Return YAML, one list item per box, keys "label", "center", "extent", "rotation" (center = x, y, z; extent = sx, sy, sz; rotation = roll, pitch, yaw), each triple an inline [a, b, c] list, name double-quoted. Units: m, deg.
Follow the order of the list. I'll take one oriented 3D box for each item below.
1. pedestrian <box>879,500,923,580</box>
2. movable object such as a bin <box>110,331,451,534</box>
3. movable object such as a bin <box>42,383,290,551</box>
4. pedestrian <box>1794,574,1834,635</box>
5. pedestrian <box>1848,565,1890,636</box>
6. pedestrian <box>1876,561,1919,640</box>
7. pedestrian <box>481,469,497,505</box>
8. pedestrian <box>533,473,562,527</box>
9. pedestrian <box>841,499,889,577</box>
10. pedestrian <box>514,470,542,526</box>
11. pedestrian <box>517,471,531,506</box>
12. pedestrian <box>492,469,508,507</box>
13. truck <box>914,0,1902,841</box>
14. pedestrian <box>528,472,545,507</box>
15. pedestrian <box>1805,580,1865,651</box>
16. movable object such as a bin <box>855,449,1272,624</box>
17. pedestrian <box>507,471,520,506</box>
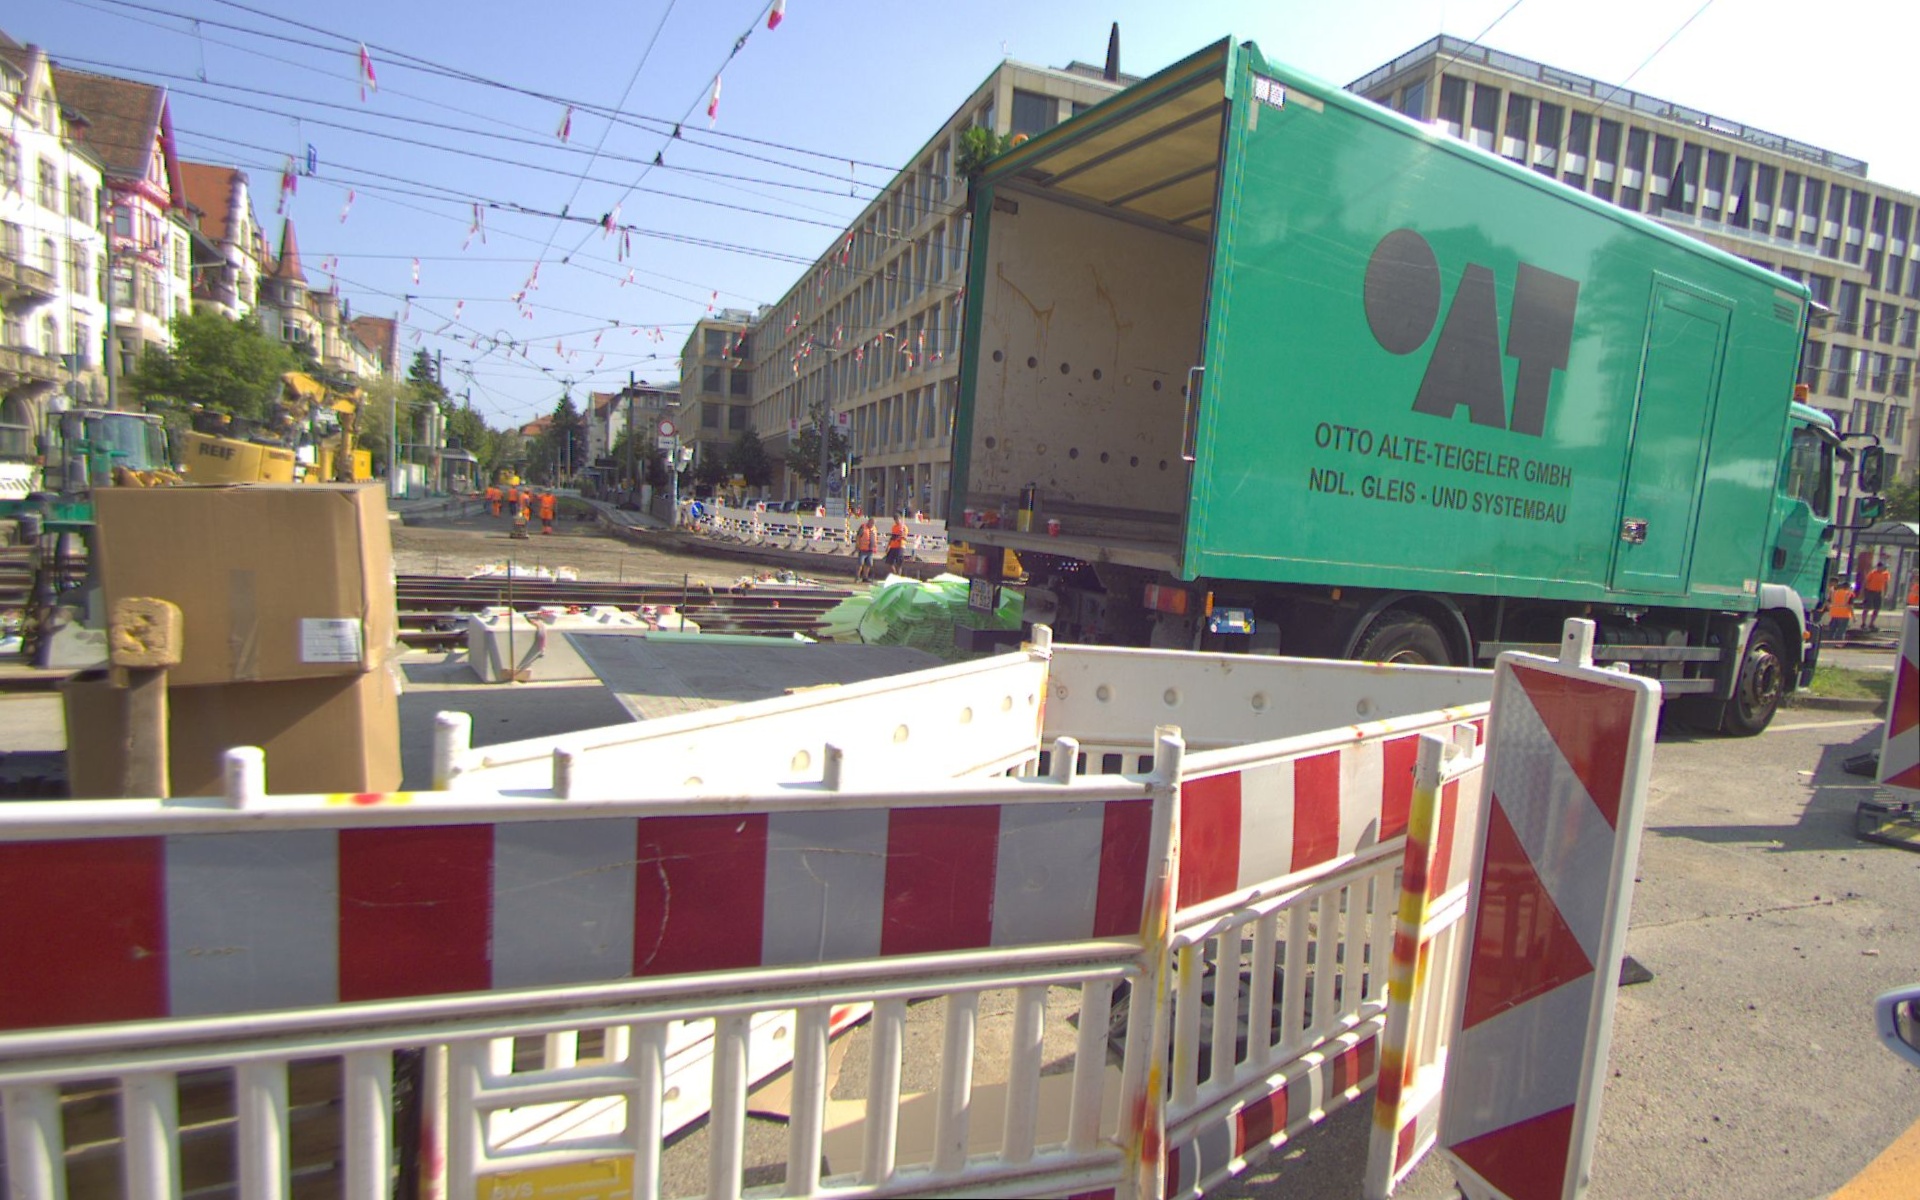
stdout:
- label: "pedestrian"
  center: [-1.468, -1.503, 25.033]
  extent: [0.794, 1.890, 0.756]
  rotation: [5, 6, 17]
- label: "movable object such as a bin"
  center: [-18.289, -4.316, 27.986]
  extent: [4.878, 4.405, 7.371]
  rotation: [4, 4, -7]
- label: "movable object such as a bin"
  center: [-15.657, -2.584, 19.758]
  extent: [4.734, 2.873, 2.442]
  rotation: [7, 5, 33]
- label: "pedestrian"
  center: [22.927, 0.116, 26.964]
  extent: [0.632, 1.575, 0.622]
  rotation: [7, 7, 43]
- label: "pedestrian"
  center: [24.386, 0.004, 26.958]
  extent: [0.616, 1.840, 0.638]
  rotation: [7, 6, 37]
- label: "pedestrian"
  center: [24.743, 0.009, 26.209]
  extent: [0.773, 1.977, 0.725]
  rotation: [3, 5, -6]
- label: "pedestrian"
  center: [-27.462, -6.587, 58.583]
  extent: [0.632, 2.041, 0.671]
  rotation: [-1, 7, -41]
- label: "pedestrian"
  center: [-16.155, -3.927, 39.355]
  extent: [0.812, 2.041, 0.669]
  rotation: [4, 5, 3]
- label: "pedestrian"
  center: [-2.420, -1.590, 25.511]
  extent: [0.801, 1.890, 0.918]
  rotation: [1, 6, -30]
- label: "pedestrian"
  center: [-16.556, -3.909, 38.507]
  extent: [0.665, 2.093, 0.888]
  rotation: [-1, 7, -44]
- label: "pedestrian"
  center: [-26.456, -6.763, 60.941]
  extent: [0.630, 2.041, 0.673]
  rotation: [0, 6, -33]
- label: "pedestrian"
  center: [-25.769, -6.286, 56.273]
  extent: [0.631, 2.041, 0.671]
  rotation: [0, 7, -38]
- label: "truck"
  center: [4.017, -0.987, 8.051]
  extent: [8.326, 3.966, 2.776]
  rotation: [0, 8, -33]
- label: "pedestrian"
  center: [-25.601, -6.668, 60.767]
  extent: [0.665, 2.041, 0.637]
  rotation: [5, 5, 11]
- label: "pedestrian"
  center: [22.095, 0.387, 25.382]
  extent: [0.756, 1.686, 0.669]
  rotation: [4, 5, 13]
- label: "movable object such as a bin"
  center: [2.241, -1.397, 22.411]
  extent: [8.350, 2.997, 3.607]
  rotation: [3, 6, -21]
- label: "pedestrian"
  center: [-26.603, -6.632, 59.833]
  extent: [0.629, 2.041, 0.673]
  rotation: [1, 6, -29]
